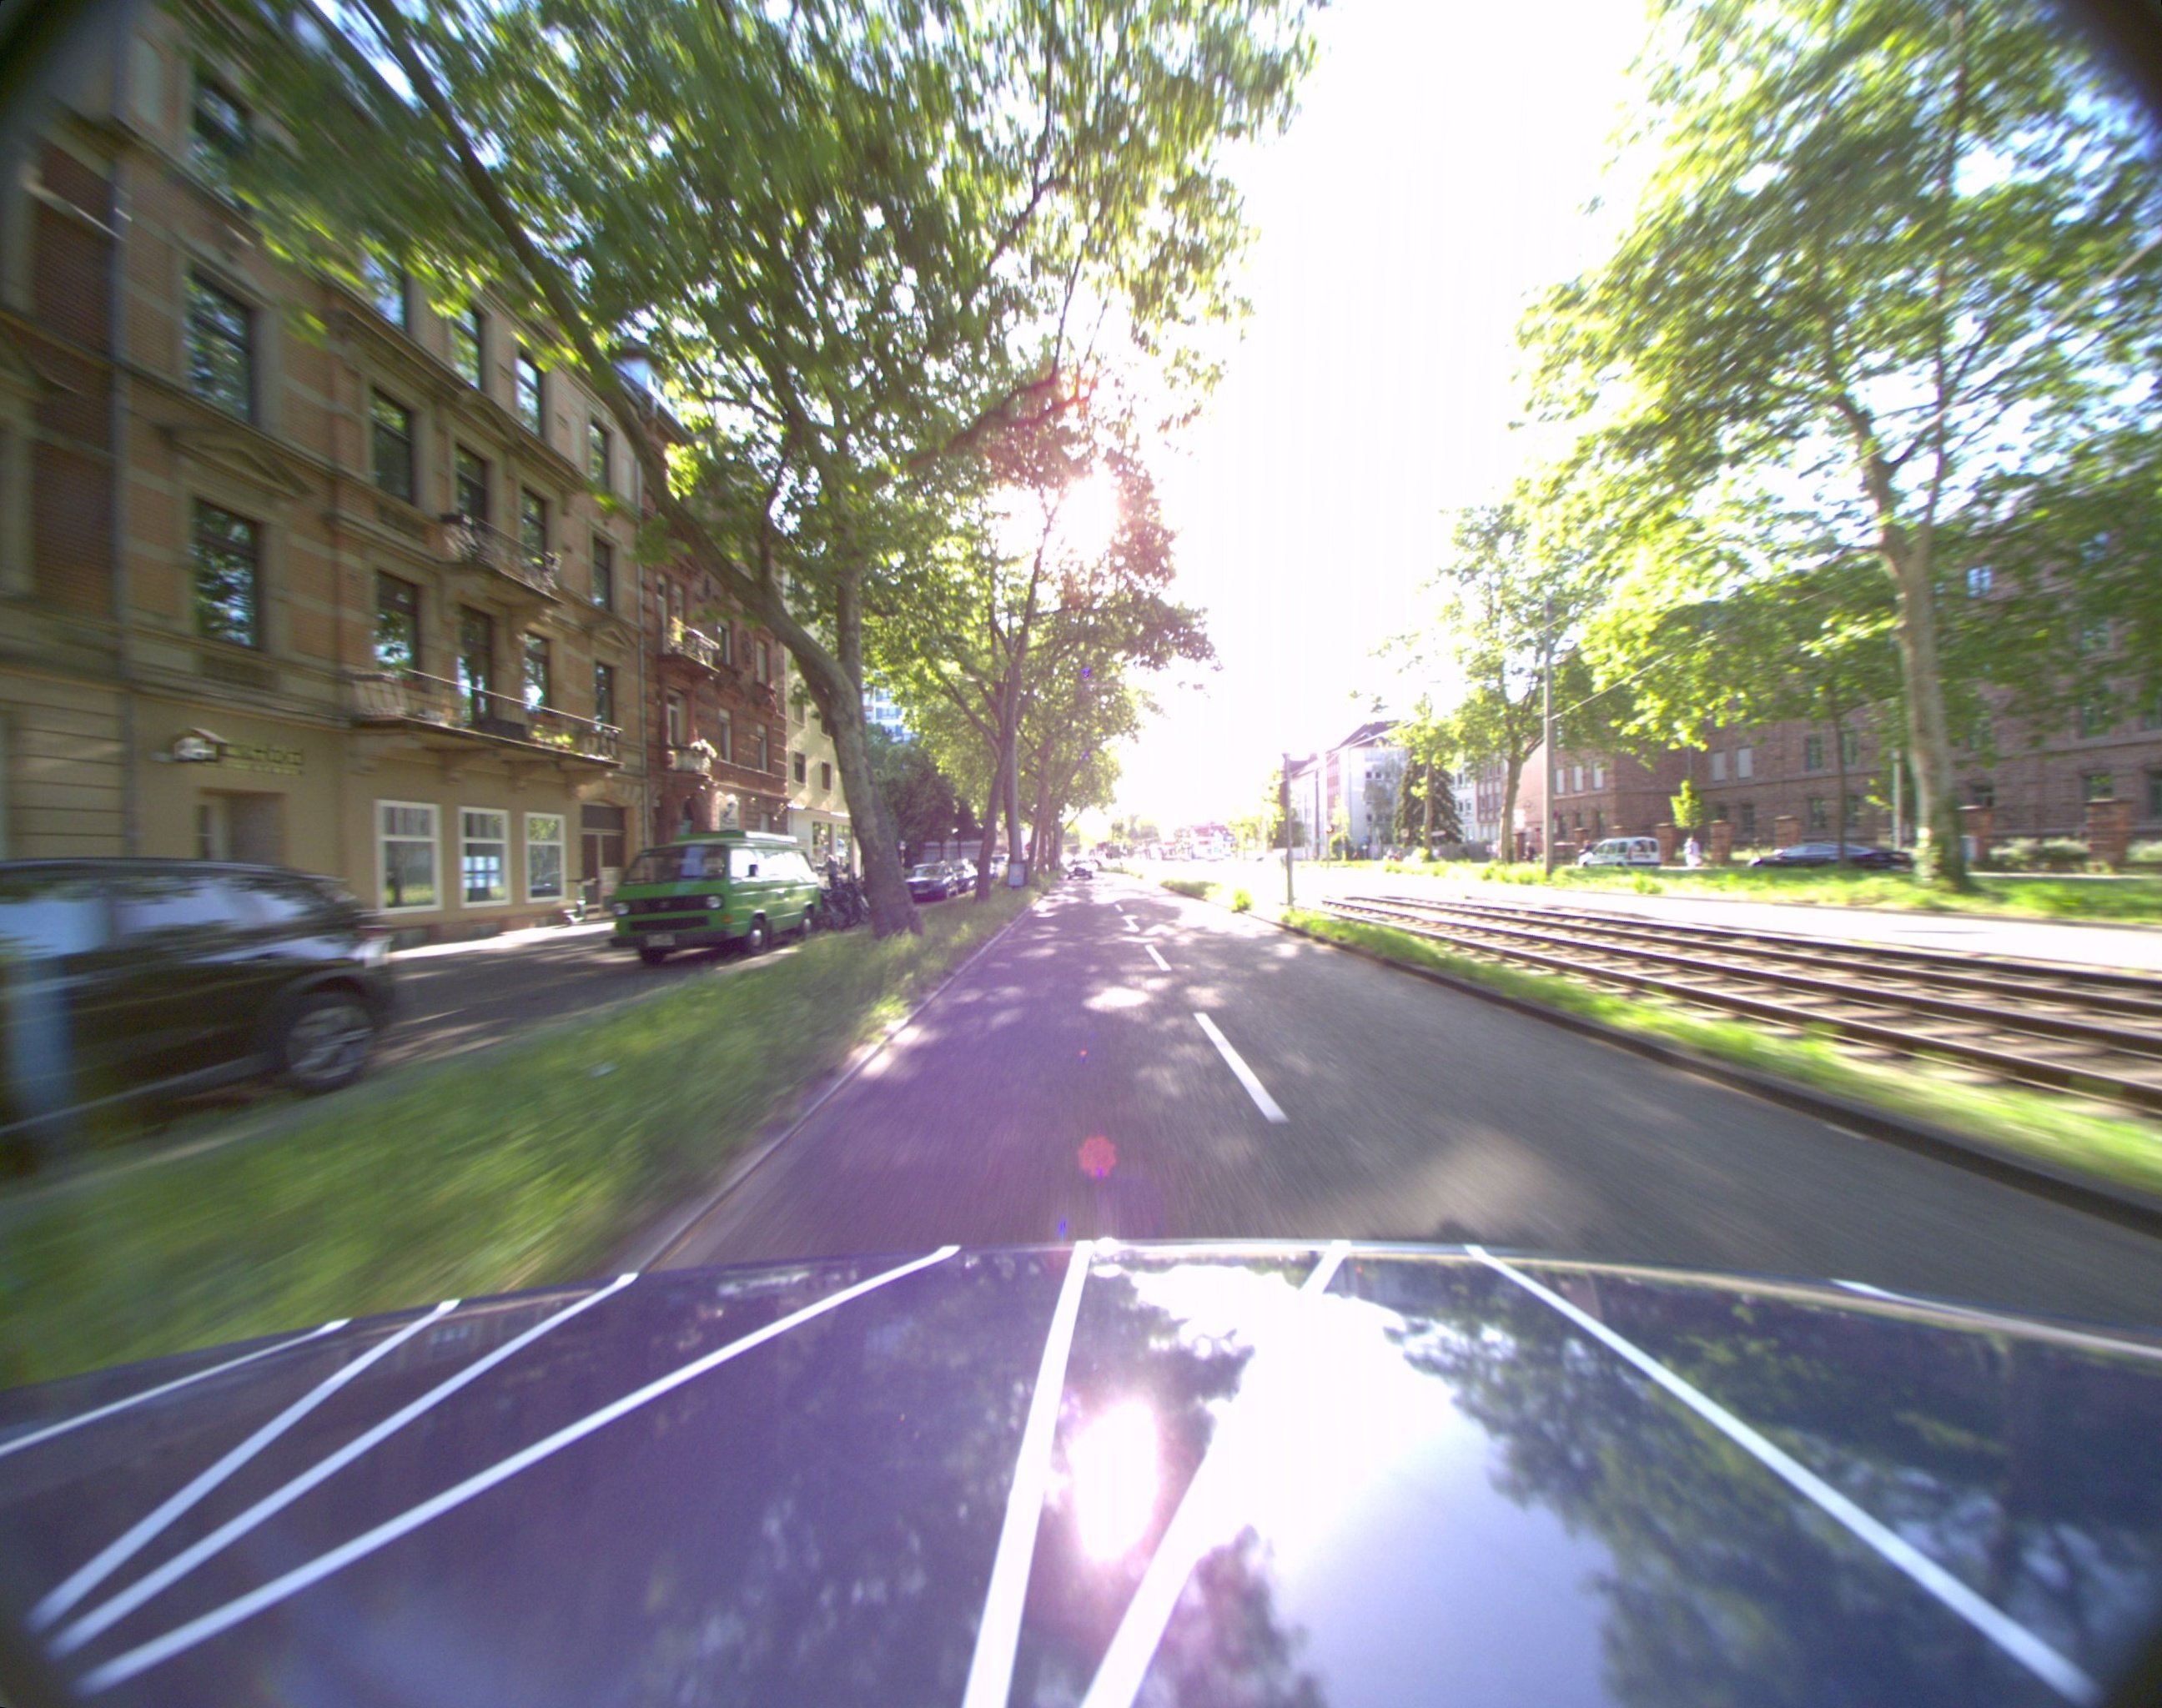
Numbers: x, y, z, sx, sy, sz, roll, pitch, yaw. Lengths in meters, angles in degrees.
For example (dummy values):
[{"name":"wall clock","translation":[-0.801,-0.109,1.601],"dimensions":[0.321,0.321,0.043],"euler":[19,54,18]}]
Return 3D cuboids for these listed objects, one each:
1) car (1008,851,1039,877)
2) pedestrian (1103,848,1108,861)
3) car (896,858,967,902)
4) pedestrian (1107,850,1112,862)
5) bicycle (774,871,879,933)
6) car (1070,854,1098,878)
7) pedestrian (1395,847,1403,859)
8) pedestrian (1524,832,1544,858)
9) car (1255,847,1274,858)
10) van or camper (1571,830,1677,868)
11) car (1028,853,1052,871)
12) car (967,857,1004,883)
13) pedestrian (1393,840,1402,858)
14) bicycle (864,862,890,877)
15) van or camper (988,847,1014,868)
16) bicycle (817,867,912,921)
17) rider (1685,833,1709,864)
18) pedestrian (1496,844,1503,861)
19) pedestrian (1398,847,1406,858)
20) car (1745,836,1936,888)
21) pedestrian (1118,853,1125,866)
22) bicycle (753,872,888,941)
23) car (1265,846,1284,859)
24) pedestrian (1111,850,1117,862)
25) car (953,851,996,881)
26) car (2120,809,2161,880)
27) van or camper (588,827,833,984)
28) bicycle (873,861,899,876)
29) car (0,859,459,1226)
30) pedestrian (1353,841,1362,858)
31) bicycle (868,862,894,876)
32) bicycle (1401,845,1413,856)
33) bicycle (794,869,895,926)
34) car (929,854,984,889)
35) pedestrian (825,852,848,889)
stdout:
[{"name":"car","translation":[-3.955,0.657,52.722],"dimensions":[1.908,1.626,4.822],"euler":[-2,0,-3]},{"name":"pedestrian","translation":[3.885,0.079,119.739],"dimensions":[0.669,2.002,0.716],"euler":[-2,1,1]},{"name":"car","translation":[-5.824,0.972,30.069],"dimensions":[1.838,1.399,4.192],"euler":[-4,1,0]},{"name":"pedestrian","translation":[4.504,0.322,118.764],"dimensions":[0.683,1.773,0.754],"euler":[-2,1,1]},{"name":"bicycle","translation":[-5.931,1.099,17.854],"dimensions":[2.171,1.287,0.982],"euler":[-3,1,-10]},{"name":"car","translation":[0.250,0.879,59.454],"dimensions":[1.979,1.660,4.620],"euler":[-3,1,2]},{"name":"pedestrian","translation":[31.140,-0.112,74.485],"dimensions":[0.587,1.093,0.478],"euler":[-2,1,-1]},{"name":"pedestrian","translation":[33.531,-0.654,56.292],"dimensions":[0.903,1.888,0.942],"euler":[-2,1,1]},{"name":"car","translation":[27.815,-0.245,115.274],"dimensions":[1.998,1.697,4.150],"euler":[-2,0,4]},{"name":"van or camper","translation":[26.801,-0.246,37.698],"dimensions":[1.999,1.777,4.431],"euler":[-1,1,-2]},{"name":"car","translation":[-3.560,0.665,66.141],"dimensions":[1.758,1.390,5.025],"euler":[-2,0,0]},{"name":"car","translation":[-5.793,0.963,46.539],"dimensions":[1.719,1.443,4.261],"euler":[-2,-1,0]},{"name":"pedestrian","translation":[33.865,-0.530,81.361],"dimensions":[0.694,1.826,0.573],"euler":[-2,1,-1]},{"name":"bicycle","translation":[-16.241,1.224,60.470],"dimensions":[2.140,1.097,0.473],"euler":[-1,1,25]},{"name":"van or camper","translation":[-8.952,0.339,85.340],"dimensions":[2.297,2.273,5.822],"euler":[-2,1,0]},{"name":"bicycle","translation":[-5.762,1.054,20.290],"dimensions":[2.169,1.287,0.983],"euler":[-3,1,2]},{"name":"rider","translation":[33.609,-0.296,41.436],"dimensions":[0.730,1.635,0.686],"euler":[-1,1,1]},{"name":"pedestrian","translation":[41.294,-0.146,74.995],"dimensions":[0.376,1.686,0.449],"euler":[-2,1,6]},{"name":"pedestrian","translation":[31.215,-0.127,73.850],"dimensions":[0.445,1.093,0.587],"euler":[-2,1,-5]},{"name":"car","translation":[26.740,0.264,27.052],"dimensions":[1.998,1.640,4.827],"euler":[-2,0,1]},{"name":"pedestrian","translation":[5.348,0.699,100.075],"dimensions":[0.955,1.726,0.730],"euler":[-2,1,3]},{"name":"bicycle","translation":[-5.585,1.119,16.478],"dimensions":[2.556,1.287,0.974],"euler":[-3,1,-6]},{"name":"car","translation":[26.111,-0.176,102.520],"dimensions":[1.769,1.613,4.477],"euler":[-2,0,6]},{"name":"pedestrian","translation":[4.793,0.305,111.322],"dimensions":[0.714,1.670,0.772],"euler":[-3,1,-1]},{"name":"car","translation":[-5.737,0.627,41.332],"dimensions":[1.699,1.521,4.261],"euler":[-2,-1,0]},{"name":"car","translation":[26.821,-0.246,16.807],"dimensions":[1.772,1.709,4.421],"euler":[-2,0,4]},{"name":"van or camper","translation":[-6.025,0.714,13.163],"dimensions":[1.838,2.086,4.773],"euler":[-4,1,-1]},{"name":"bicycle","translation":[-15.779,1.178,61.456],"dimensions":[2.140,1.097,0.509],"euler":[-1,1,25]},{"name":"car","translation":[-5.939,0.952,3.646],"dimensions":[1.896,1.638,4.799],"euler":[-4,1,-1]},{"name":"pedestrian","translation":[33.362,-0.579,91.690],"dimensions":[0.664,2.002,0.860],"euler":[-2,1,-1]},{"name":"bicycle","translation":[-16.016,1.196,60.944],"dimensions":[2.140,1.097,0.509],"euler":[-1,1,25]},{"name":"bicycle","translation":[31.297,-0.360,72.893],"dimensions":[0.463,1.061,1.175],"euler":[-2,0,-9]},{"name":"bicycle","translation":[-5.923,1.075,19.141],"dimensions":[2.169,1.287,0.983],"euler":[-3,1,0]},{"name":"car","translation":[-5.714,0.798,35.406],"dimensions":[1.699,1.498,4.582],"euler":[-2,-1,1]},{"name":"pedestrian","translation":[-11.486,0.783,35.681],"dimensions":[0.797,1.694,0.724],"euler":[-1,1,0]}]
